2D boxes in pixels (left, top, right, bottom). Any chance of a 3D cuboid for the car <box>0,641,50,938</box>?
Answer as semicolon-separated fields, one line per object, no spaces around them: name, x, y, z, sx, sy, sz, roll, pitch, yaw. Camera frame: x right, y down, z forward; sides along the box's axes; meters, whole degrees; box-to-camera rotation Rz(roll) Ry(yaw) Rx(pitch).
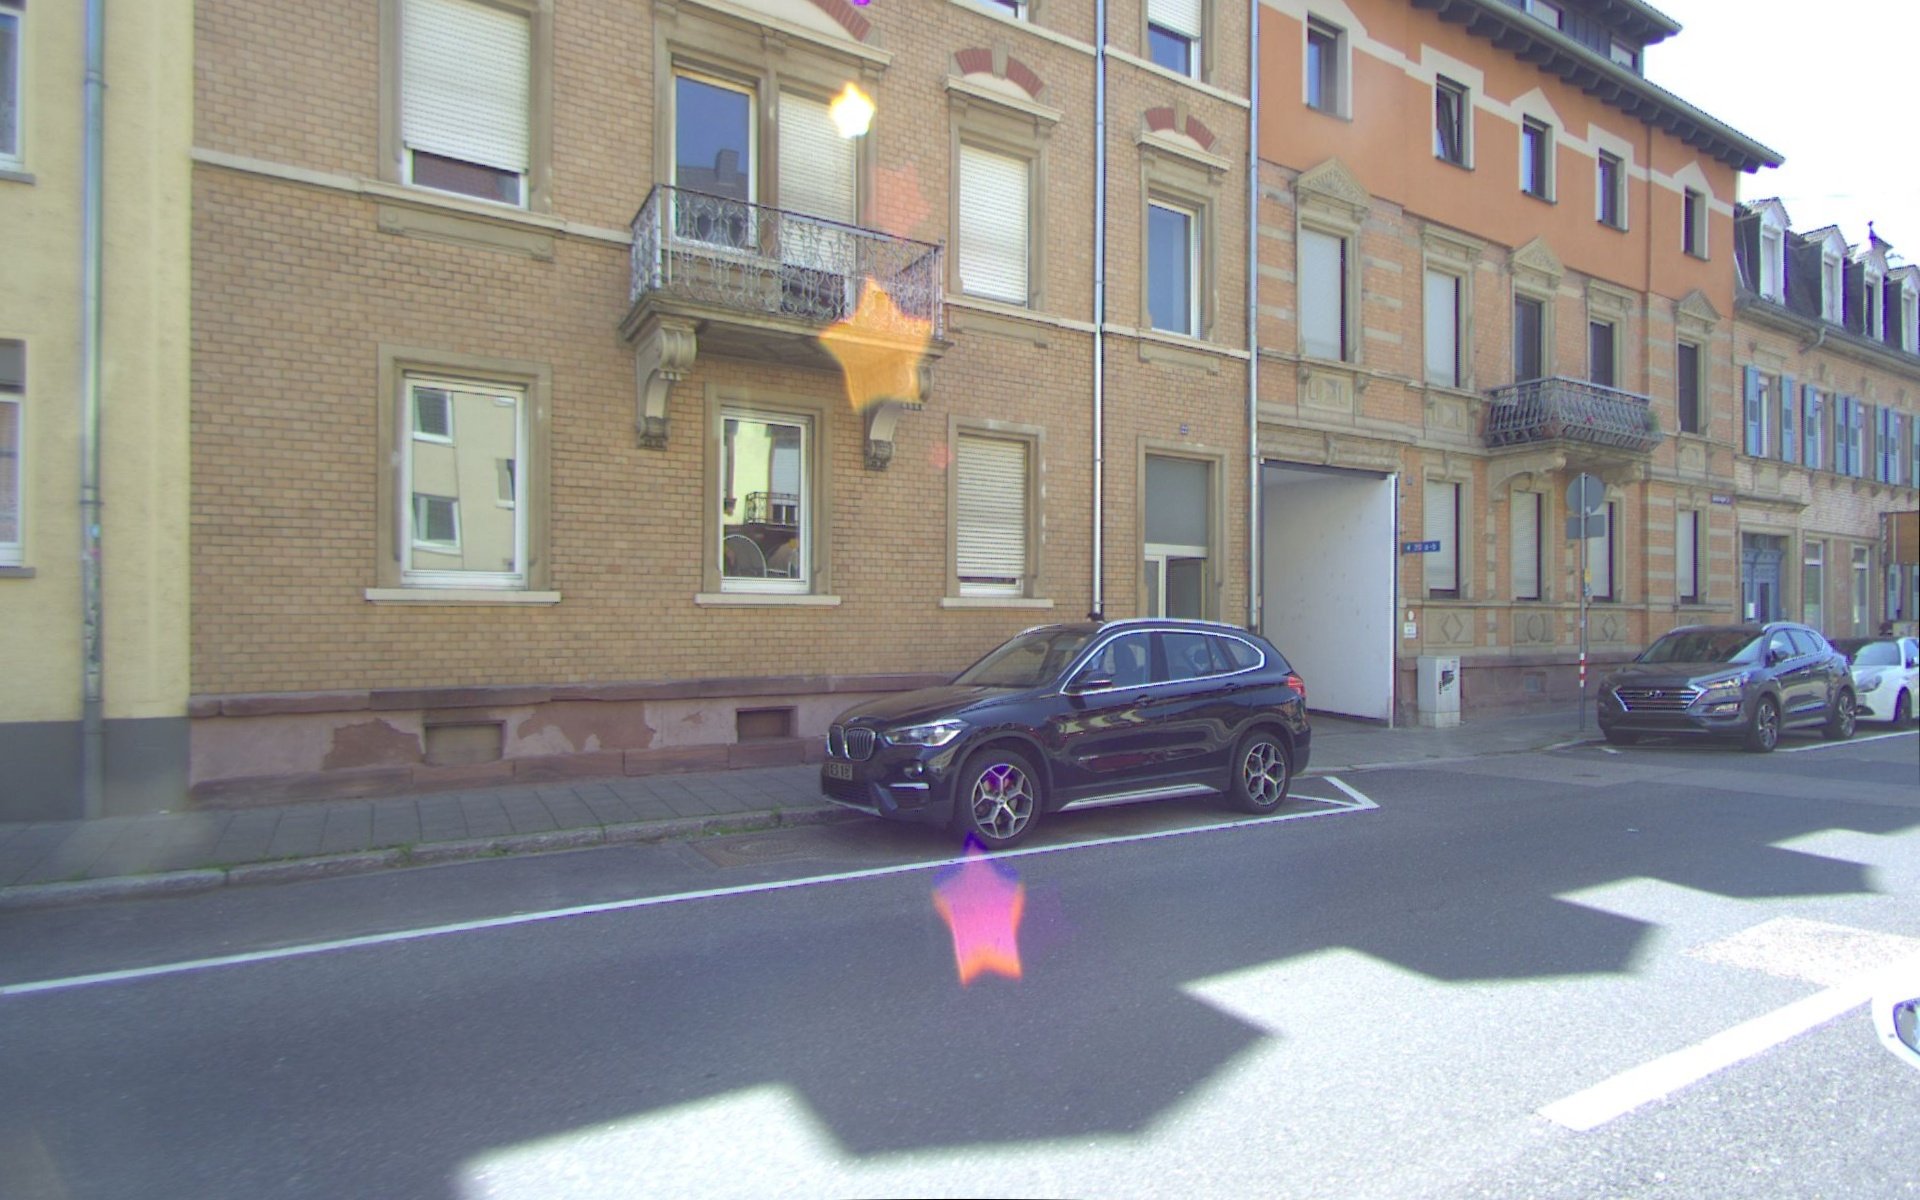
car;-6.641;0.891;3.617;4.631;1.470;1.896;1;-4;-31

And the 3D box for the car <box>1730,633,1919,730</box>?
car;15.037;1.309;16.869;4.281;1.444;1.856;1;-4;-31

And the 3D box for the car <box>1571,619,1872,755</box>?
car;10.751;1.153;14.118;4.450;1.649;1.856;1;-4;-32

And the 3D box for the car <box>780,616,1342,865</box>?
car;0.942;0.990;8.363;4.450;1.571;1.856;1;-4;-32

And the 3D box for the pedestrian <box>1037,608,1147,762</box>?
pedestrian;1.396;0.867;10.670;0.864;1.555;0.800;1;-1;-26
